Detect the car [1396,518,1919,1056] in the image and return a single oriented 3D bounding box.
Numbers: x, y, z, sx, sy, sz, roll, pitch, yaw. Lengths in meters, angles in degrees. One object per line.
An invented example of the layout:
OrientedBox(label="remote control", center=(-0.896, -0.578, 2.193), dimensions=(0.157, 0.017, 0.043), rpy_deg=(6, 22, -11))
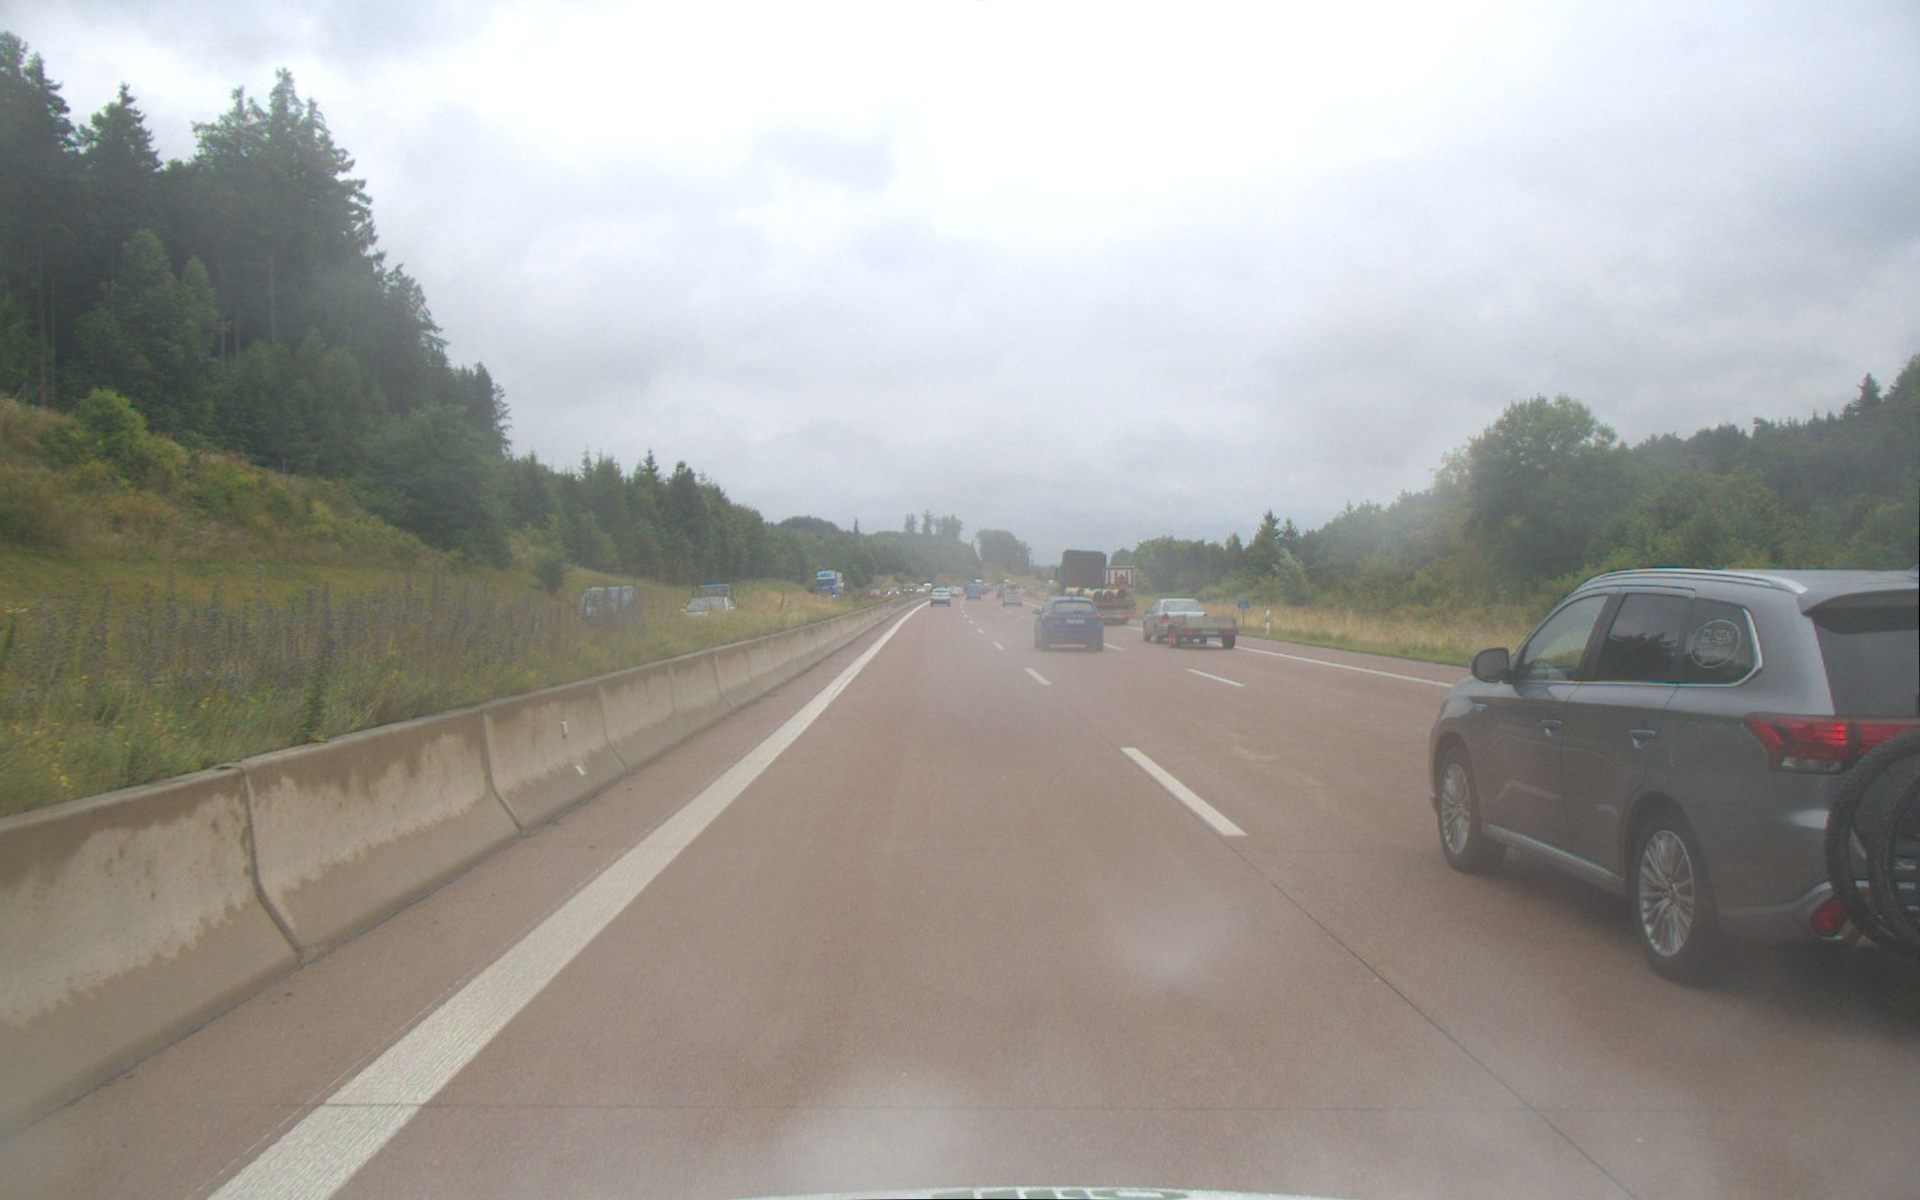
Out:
OrientedBox(label="car", center=(3.809, 0.605, 7.547), dimensions=(1.953, 1.620, 5.818), rpy_deg=(1, -1, -2))

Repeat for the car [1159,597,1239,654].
OrientedBox(label="car", center=(7.208, 0.761, 50.259), dimensions=(1.663, 1.640, 4.976), rpy_deg=(0, 0, 0))

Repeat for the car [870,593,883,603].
OrientedBox(label="car", center=(-12.539, -0.270, 247.784), dimensions=(1.782, 1.393, 5.113), rpy_deg=(1, -1, -1))

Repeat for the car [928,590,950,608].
OrientedBox(label="car", center=(-1.900, -0.138, 149.942), dimensions=(1.835, 1.469, 4.878), rpy_deg=(1, 1, 0))

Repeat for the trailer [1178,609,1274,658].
OrientedBox(label="trailer", center=(7.319, 0.887, 45.930), dimensions=(1.931, 1.187, 4.639), rpy_deg=(1, 1, 0))

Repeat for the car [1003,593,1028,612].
OrientedBox(label="car", center=(5.229, 0.255, 156.129), dimensions=(2.275, 1.780, 4.877), rpy_deg=(1, -1, 0))

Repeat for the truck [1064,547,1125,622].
OrientedBox(label="truck", center=(7.485, -0.799, 92.868), dimensions=(2.838, 4.034, 6.988), rpy_deg=(1, -1, 0))

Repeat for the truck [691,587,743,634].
OrientedBox(label="truck", center=(-17.236, 0.783, 117.625), dimensions=(2.805, 3.228, 6.493), rpy_deg=(1, -1, -1))

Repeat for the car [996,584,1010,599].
OrientedBox(label="car", center=(6.307, -1.215, 243.080), dimensions=(1.953, 2.049, 4.000), rpy_deg=(1, -1, 0))

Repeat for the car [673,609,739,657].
OrientedBox(label="car", center=(-8.940, 1.143, 58.510), dimensions=(1.805, 1.631, 3.845), rpy_deg=(1, -1, -1))

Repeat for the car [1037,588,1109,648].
OrientedBox(label="car", center=(3.133, 0.502, 46.389), dimensions=(1.735, 1.591, 4.146), rpy_deg=(1, -1, 0))

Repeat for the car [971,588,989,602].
OrientedBox(label="car", center=(2.548, -0.637, 213.008), dimensions=(2.275, 1.780, 4.877), rpy_deg=(1, -1, 0))

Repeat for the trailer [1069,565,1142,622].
OrientedBox(label="trailer", center=(7.401, -0.258, 85.395), dimensions=(2.822, 2.722, 11.398), rpy_deg=(1, -1, 0))

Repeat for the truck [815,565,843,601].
OrientedBox(label="truck", center=(-16.921, -2.232, 213.993), dimensions=(2.905, 4.394, 7.648), rpy_deg=(-4, 1, -1))
